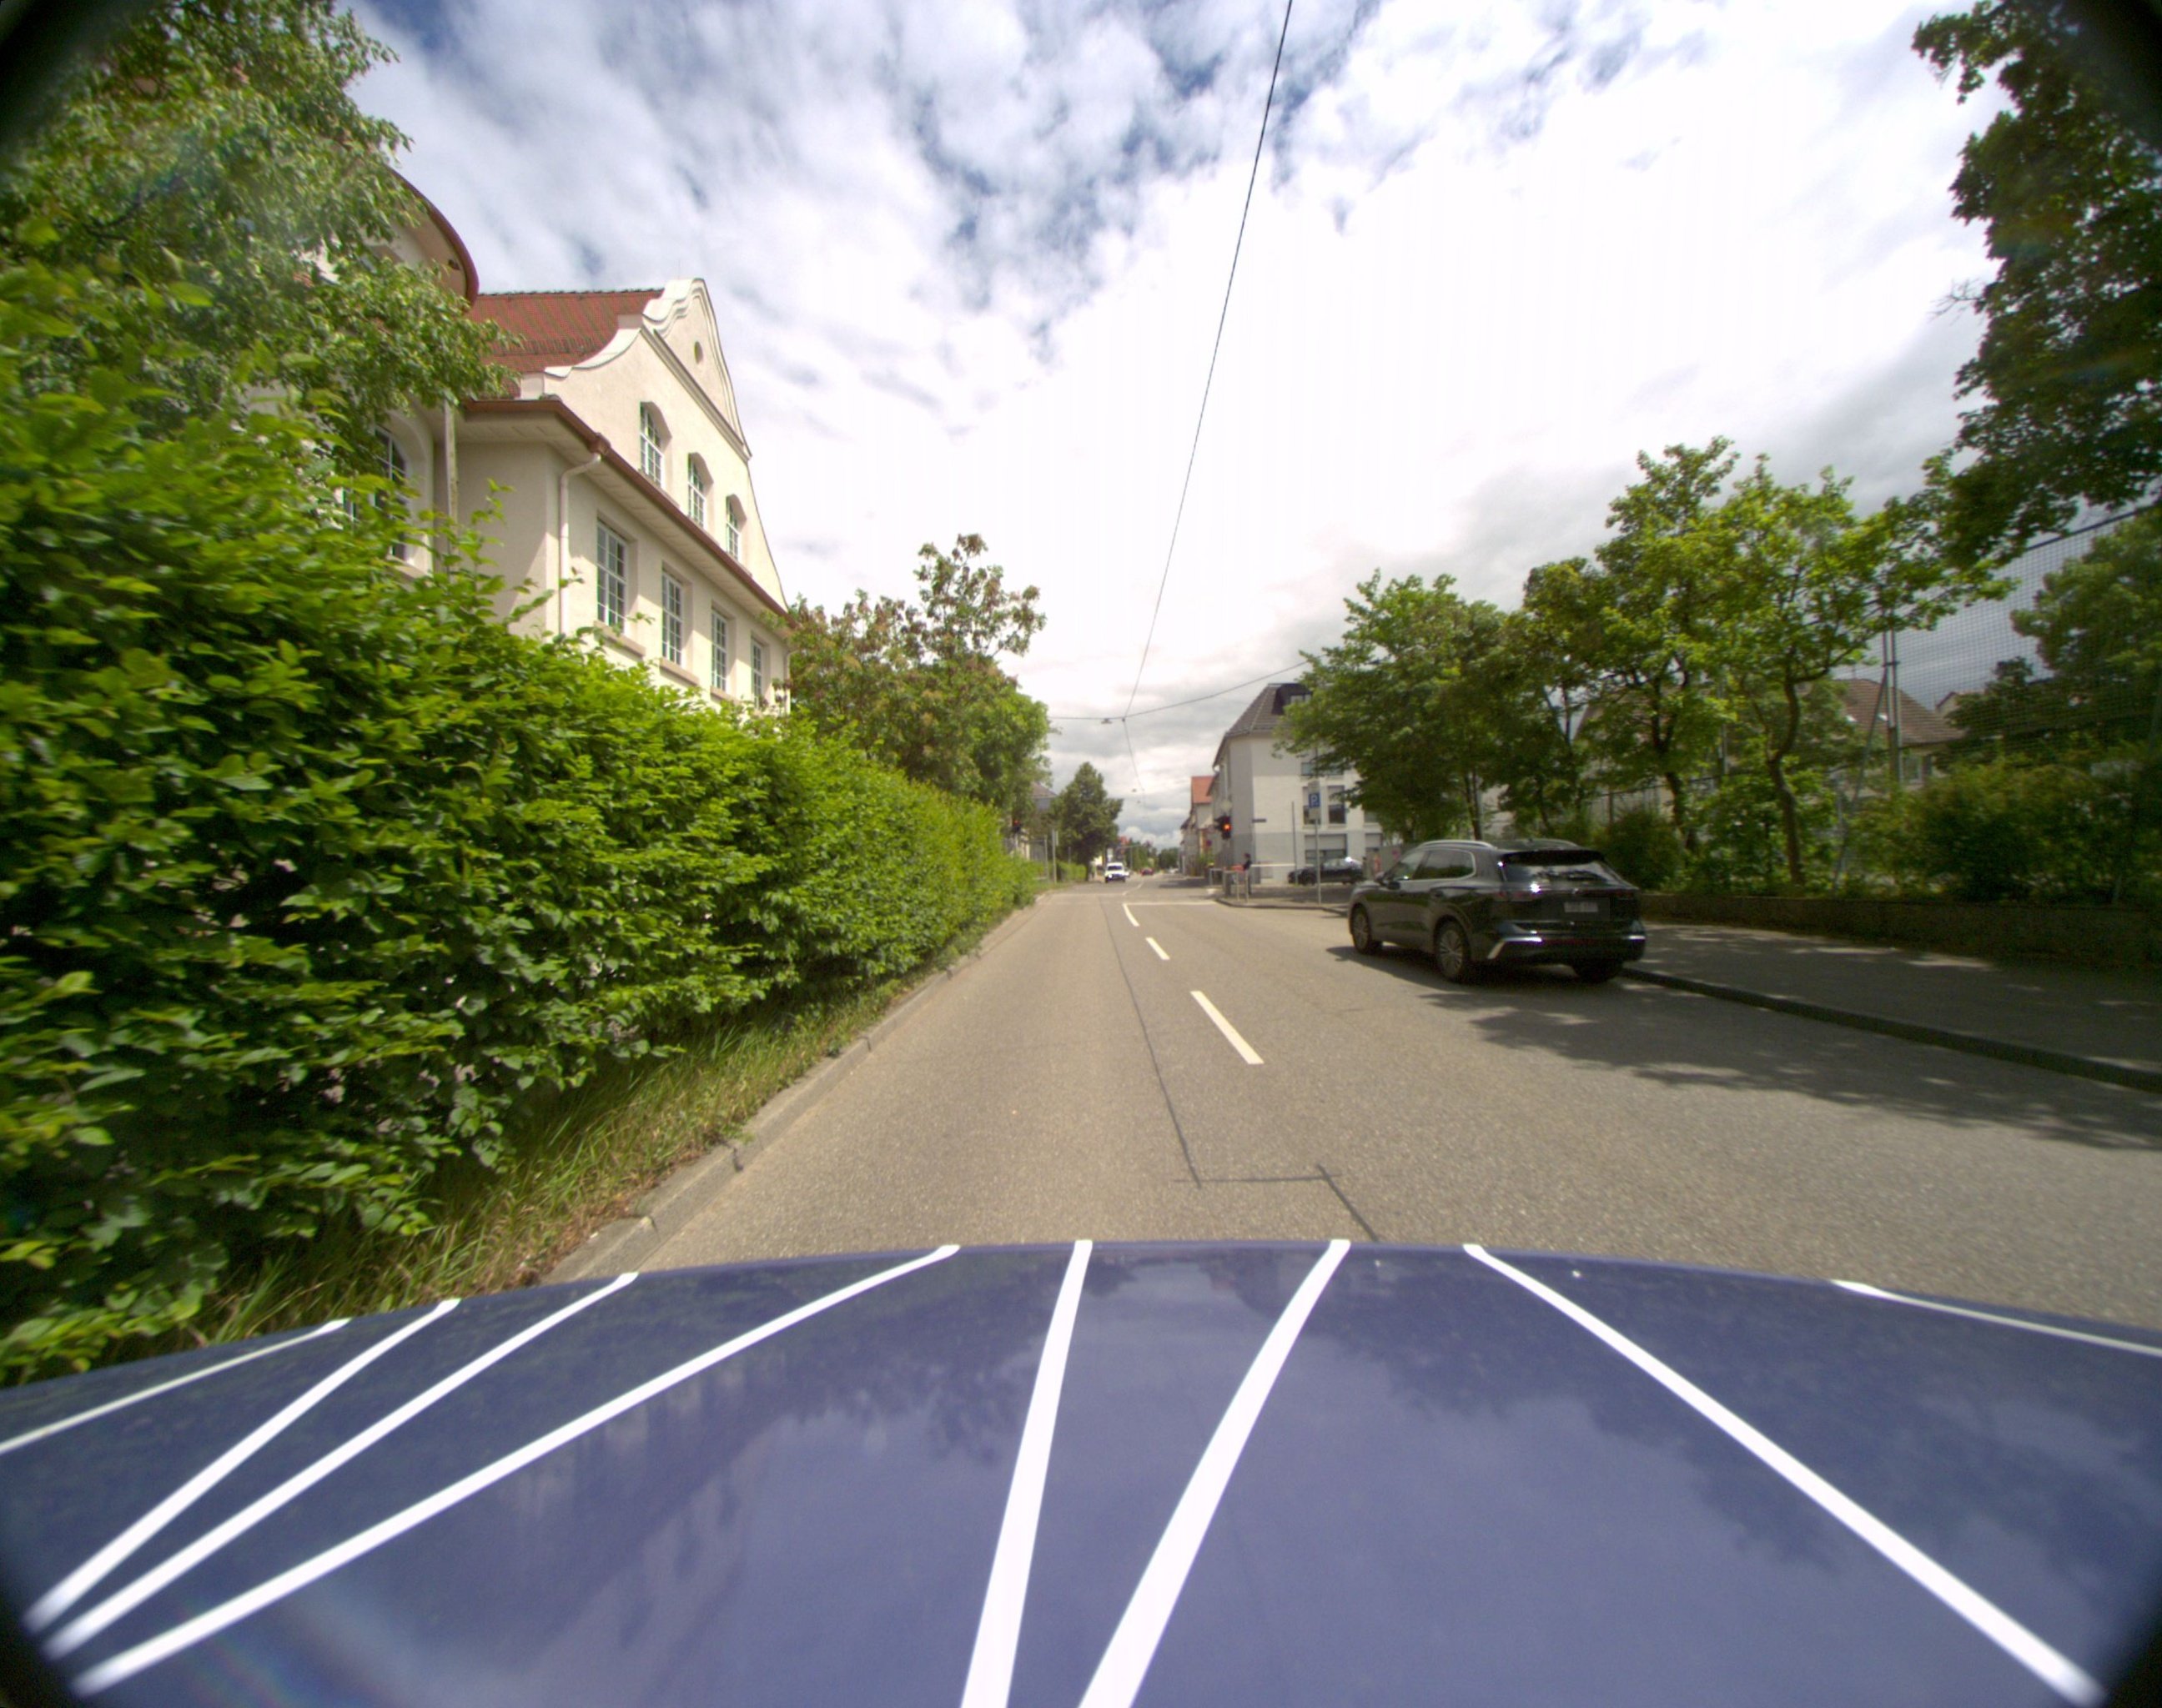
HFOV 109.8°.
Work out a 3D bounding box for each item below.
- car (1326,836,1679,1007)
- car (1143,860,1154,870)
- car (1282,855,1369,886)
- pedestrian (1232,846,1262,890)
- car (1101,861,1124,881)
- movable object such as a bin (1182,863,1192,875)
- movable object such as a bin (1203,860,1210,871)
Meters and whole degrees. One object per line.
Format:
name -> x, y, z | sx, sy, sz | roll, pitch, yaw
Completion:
car -> 4.913, 0.701, 9.809 | 1.800, 1.600, 4.645 | -2, -1, -2
car -> 11.923, 1.945, 133.714 | 1.794, 1.477, 4.003 | -4, -2, 6
car -> 13.056, 0.912, 40.764 | 3.997, 1.467, 1.859 | -2, -3, 0
pedestrian -> 6.235, 0.517, 28.566 | 0.774, 1.588, 0.670 | -3, 0, -35
car -> 2.896, 1.507, 69.039 | 1.893, 1.717, 4.295 | -3, -1, 3
movable object such as a bin -> 12.872, 1.786, 92.611 | 0.766, 1.156, 0.801 | -18, 8, -2
movable object such as a bin -> 12.337, 1.160, 74.719 | 0.642, 1.069, 0.660 | -3, 0, 2
